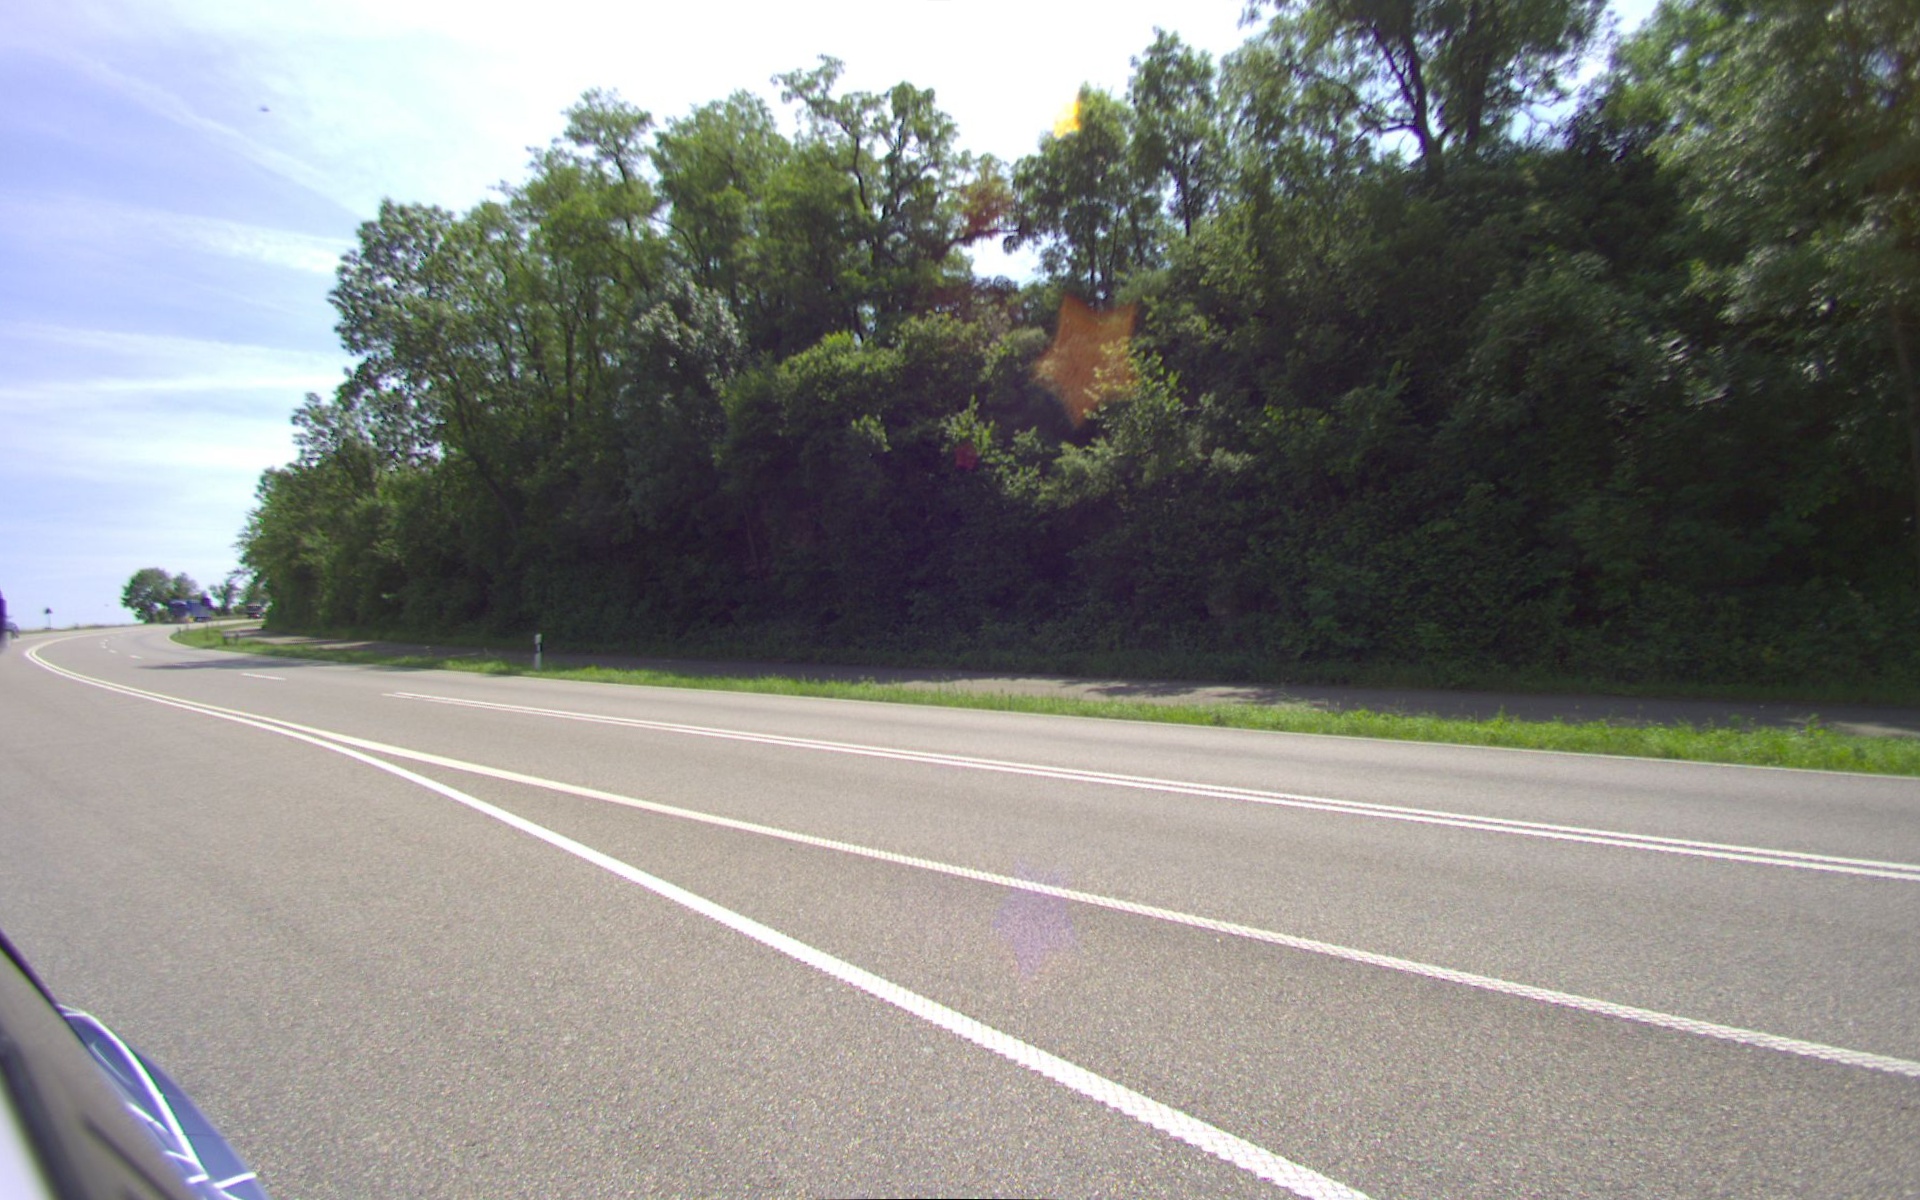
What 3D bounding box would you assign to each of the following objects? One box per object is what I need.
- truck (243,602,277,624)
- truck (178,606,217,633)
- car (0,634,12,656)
[{"bbox_3d":[-151.995,2.829,219.955,3.920,4.493,14.387,-1,-1,-26],"label":"truck"},{"bbox_3d":[-134.584,3.363,178.902,4.327,4.493,14.752,-1,-1,-33],"label":"truck"},{"bbox_3d":[-86.172,4.029,90.474,1.739,1.874,3.817,0,0,-39],"label":"car"}]
